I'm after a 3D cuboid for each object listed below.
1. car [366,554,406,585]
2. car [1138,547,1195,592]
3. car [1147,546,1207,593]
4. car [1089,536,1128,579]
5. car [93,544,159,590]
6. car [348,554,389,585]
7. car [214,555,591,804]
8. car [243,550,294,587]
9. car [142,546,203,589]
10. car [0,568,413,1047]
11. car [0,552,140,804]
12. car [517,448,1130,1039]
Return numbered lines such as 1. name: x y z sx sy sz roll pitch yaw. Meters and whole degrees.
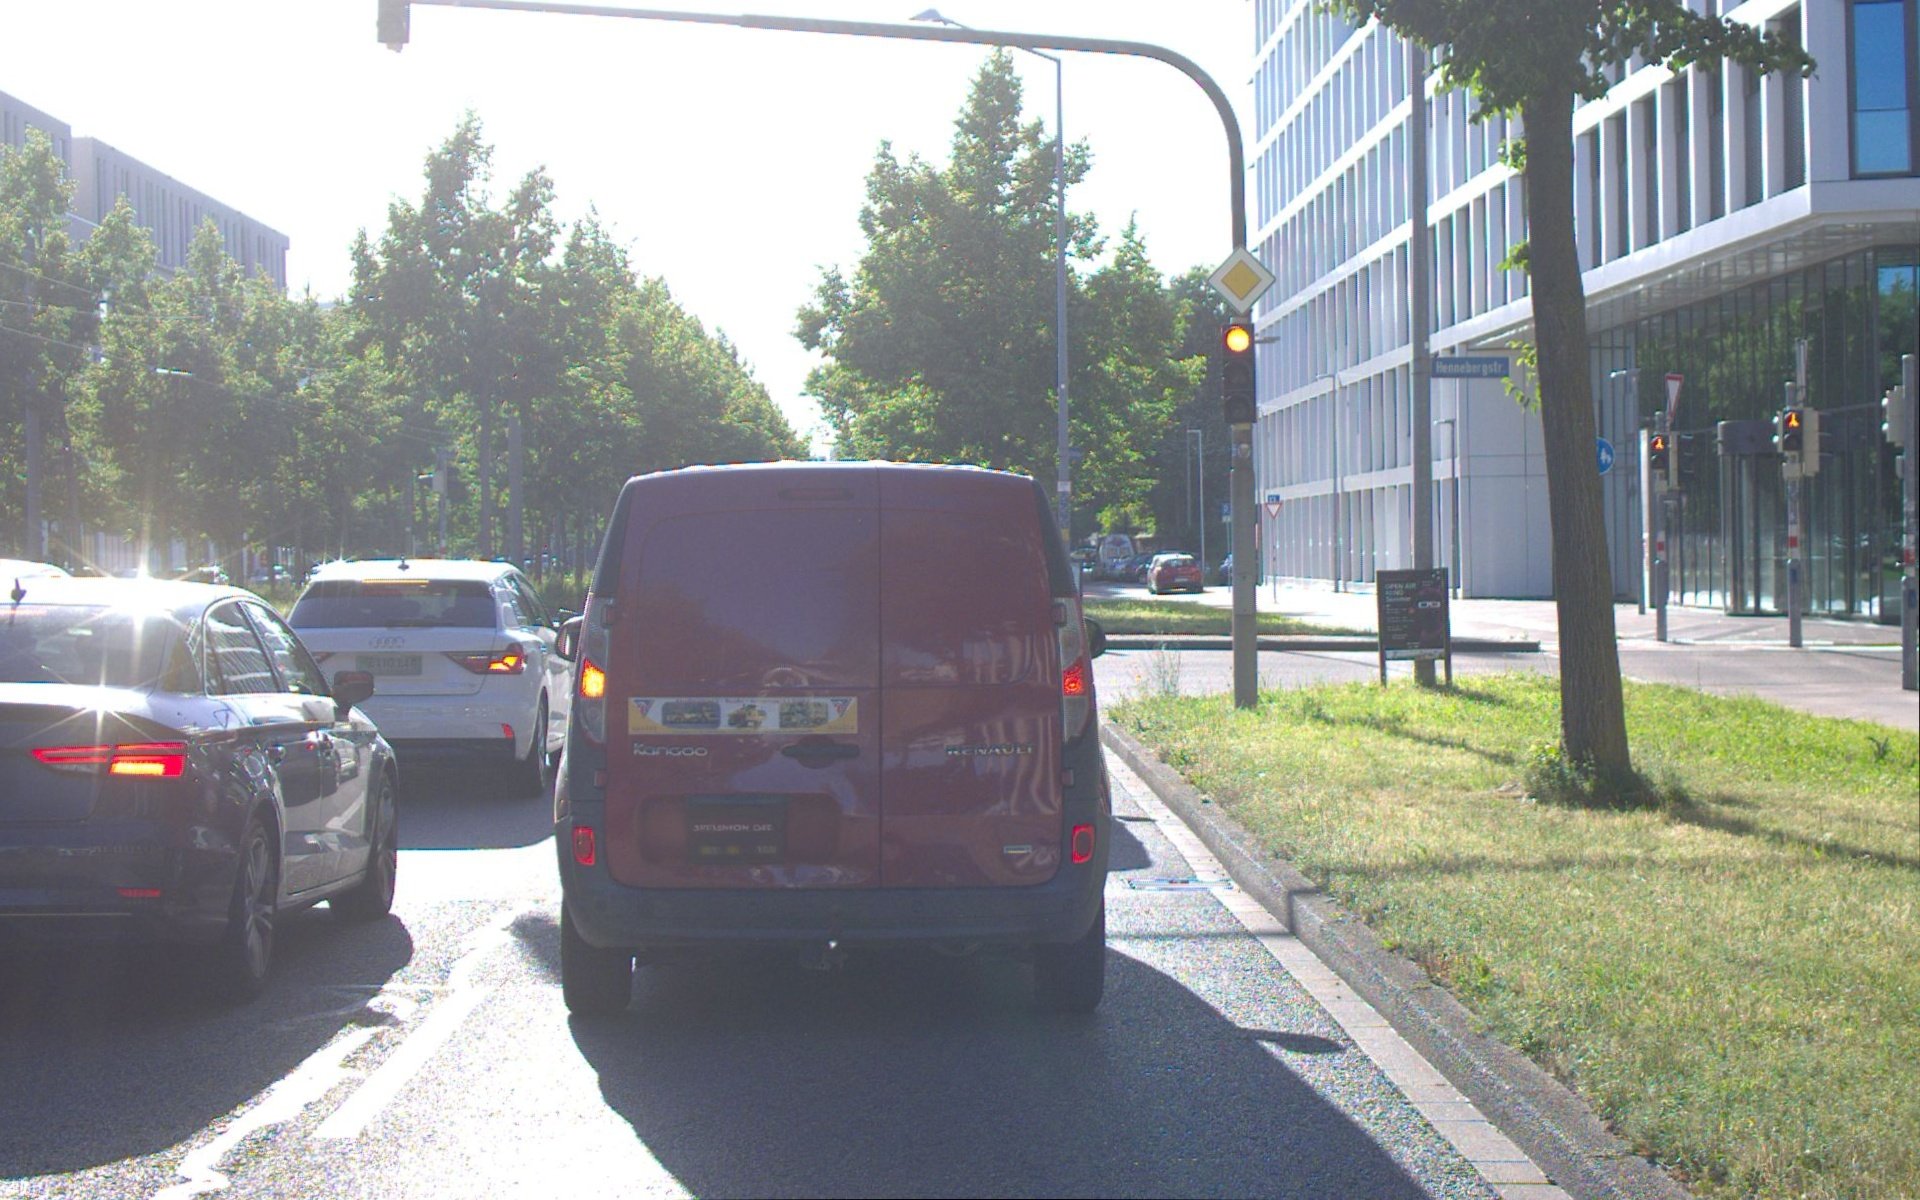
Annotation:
1. car: -37.903 -2.014 227.115 1.993 2.007 4.000 0 1 -1
2. car: 8.229 -1.226 137.219 1.993 1.776 4.000 0 1 -1
3. car: 8.344 -1.187 132.210 1.993 1.776 4.000 0 1 -1
4. car: 8.744 -2.510 202.633 1.993 2.488 4.987 0 1 -1
5. car: -37.242 -1.472 153.570 1.993 2.007 4.000 0 1 -1
6. car: -38.106 -1.981 221.490 1.993 2.007 4.000 0 1 -1
7. car: -3.424 0.433 21.791 1.803 1.421 3.901 0 1 -1
8. car: -37.531 -1.716 186.658 1.993 2.007 4.000 0 1 -1
9. car: -37.240 -1.536 162.671 1.993 2.007 4.000 0 1 -1
10. car: -3.233 0.607 12.533 1.842 1.421 4.339 0 1 -1
11. car: -6.801 0.426 22.829 1.799 1.478 4.569 3 1 -3
12. car: -0.437 0.402 12.352 1.842 1.774 4.000 0 1 -1
